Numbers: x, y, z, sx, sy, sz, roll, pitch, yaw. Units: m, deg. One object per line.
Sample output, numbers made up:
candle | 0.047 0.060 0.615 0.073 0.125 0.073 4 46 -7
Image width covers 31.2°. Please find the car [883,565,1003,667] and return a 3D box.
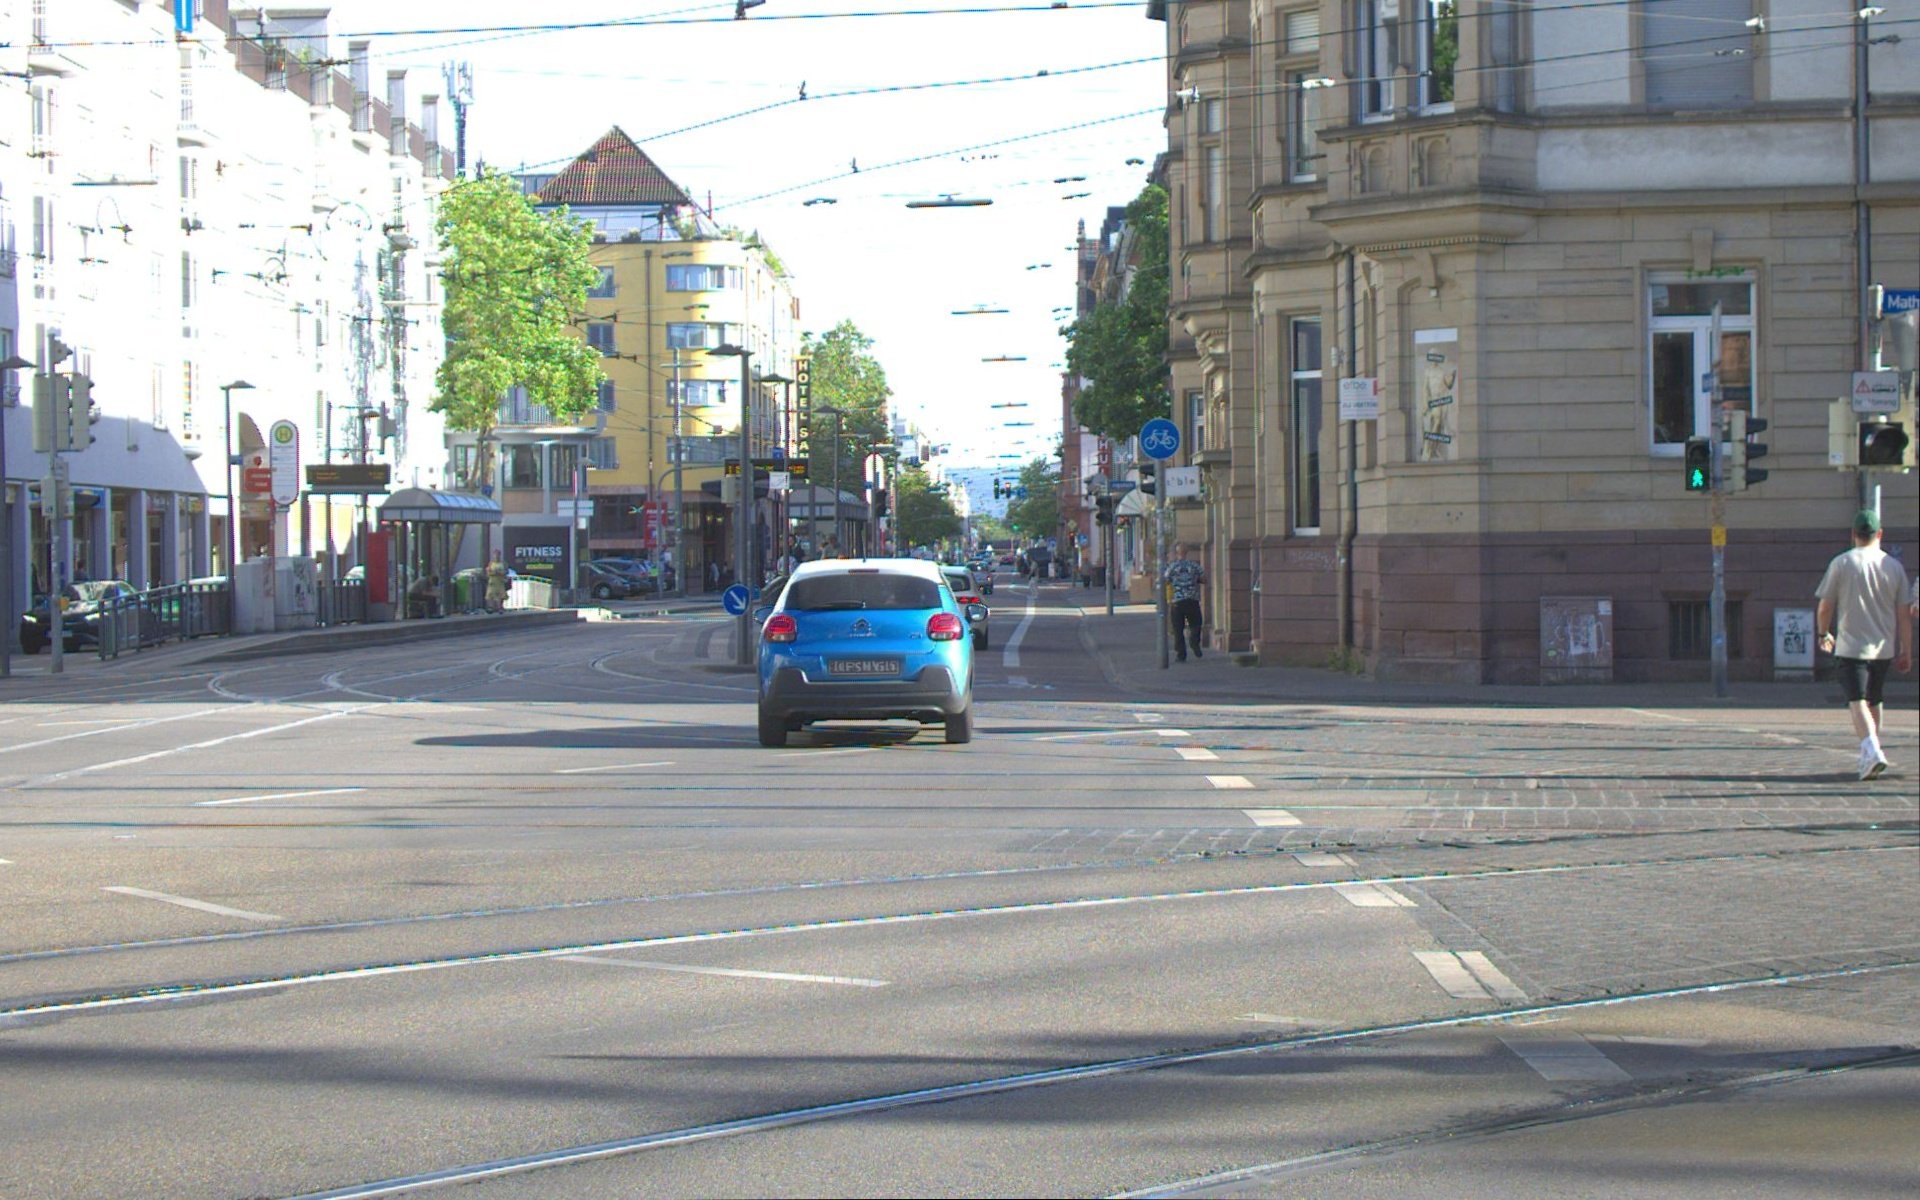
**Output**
car | -0.263 0.306 61.625 1.993 1.737 4.000 1 -1 2

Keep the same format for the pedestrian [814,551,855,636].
pedestrian | -2.565 -0.126 70.209 0.636 1.692 0.933 1 -1 9

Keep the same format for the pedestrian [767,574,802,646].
pedestrian | -3.812 0.217 74.752 0.586 1.556 0.468 0 0 37

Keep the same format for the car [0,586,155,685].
car | -17.862 0.691 69.135 2.227 1.904 4.609 0 0 0

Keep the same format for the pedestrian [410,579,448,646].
pedestrian | -12.081 0.283 78.234 0.731 1.522 0.743 0 1 0

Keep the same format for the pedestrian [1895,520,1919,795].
pedestrian | 6.365 0.372 21.950 0.644 1.739 0.704 1 -1 23

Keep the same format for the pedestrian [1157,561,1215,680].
pedestrian | 3.398 0.296 51.815 0.780 1.744 1.093 0 2 -1

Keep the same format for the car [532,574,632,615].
car | -15.617 -0.247 142.155 3.986 1.669 1.958 0 0 -2

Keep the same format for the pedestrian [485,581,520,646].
pedestrian | -11.045 0.318 83.027 0.731 1.553 0.743 0 1 0

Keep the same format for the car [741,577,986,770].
car | -0.728 0.553 28.185 1.781 1.446 3.654 1 0 2

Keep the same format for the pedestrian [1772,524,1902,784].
pedestrian | 5.666 0.349 22.201 0.701 1.649 0.631 -1 -1 23

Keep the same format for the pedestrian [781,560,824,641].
pedestrian | -3.452 0.006 75.405 0.718 1.771 0.564 0 0 37

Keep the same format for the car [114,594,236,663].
car | -17.770 0.625 77.990 1.728 1.509 4.404 0 0 0
